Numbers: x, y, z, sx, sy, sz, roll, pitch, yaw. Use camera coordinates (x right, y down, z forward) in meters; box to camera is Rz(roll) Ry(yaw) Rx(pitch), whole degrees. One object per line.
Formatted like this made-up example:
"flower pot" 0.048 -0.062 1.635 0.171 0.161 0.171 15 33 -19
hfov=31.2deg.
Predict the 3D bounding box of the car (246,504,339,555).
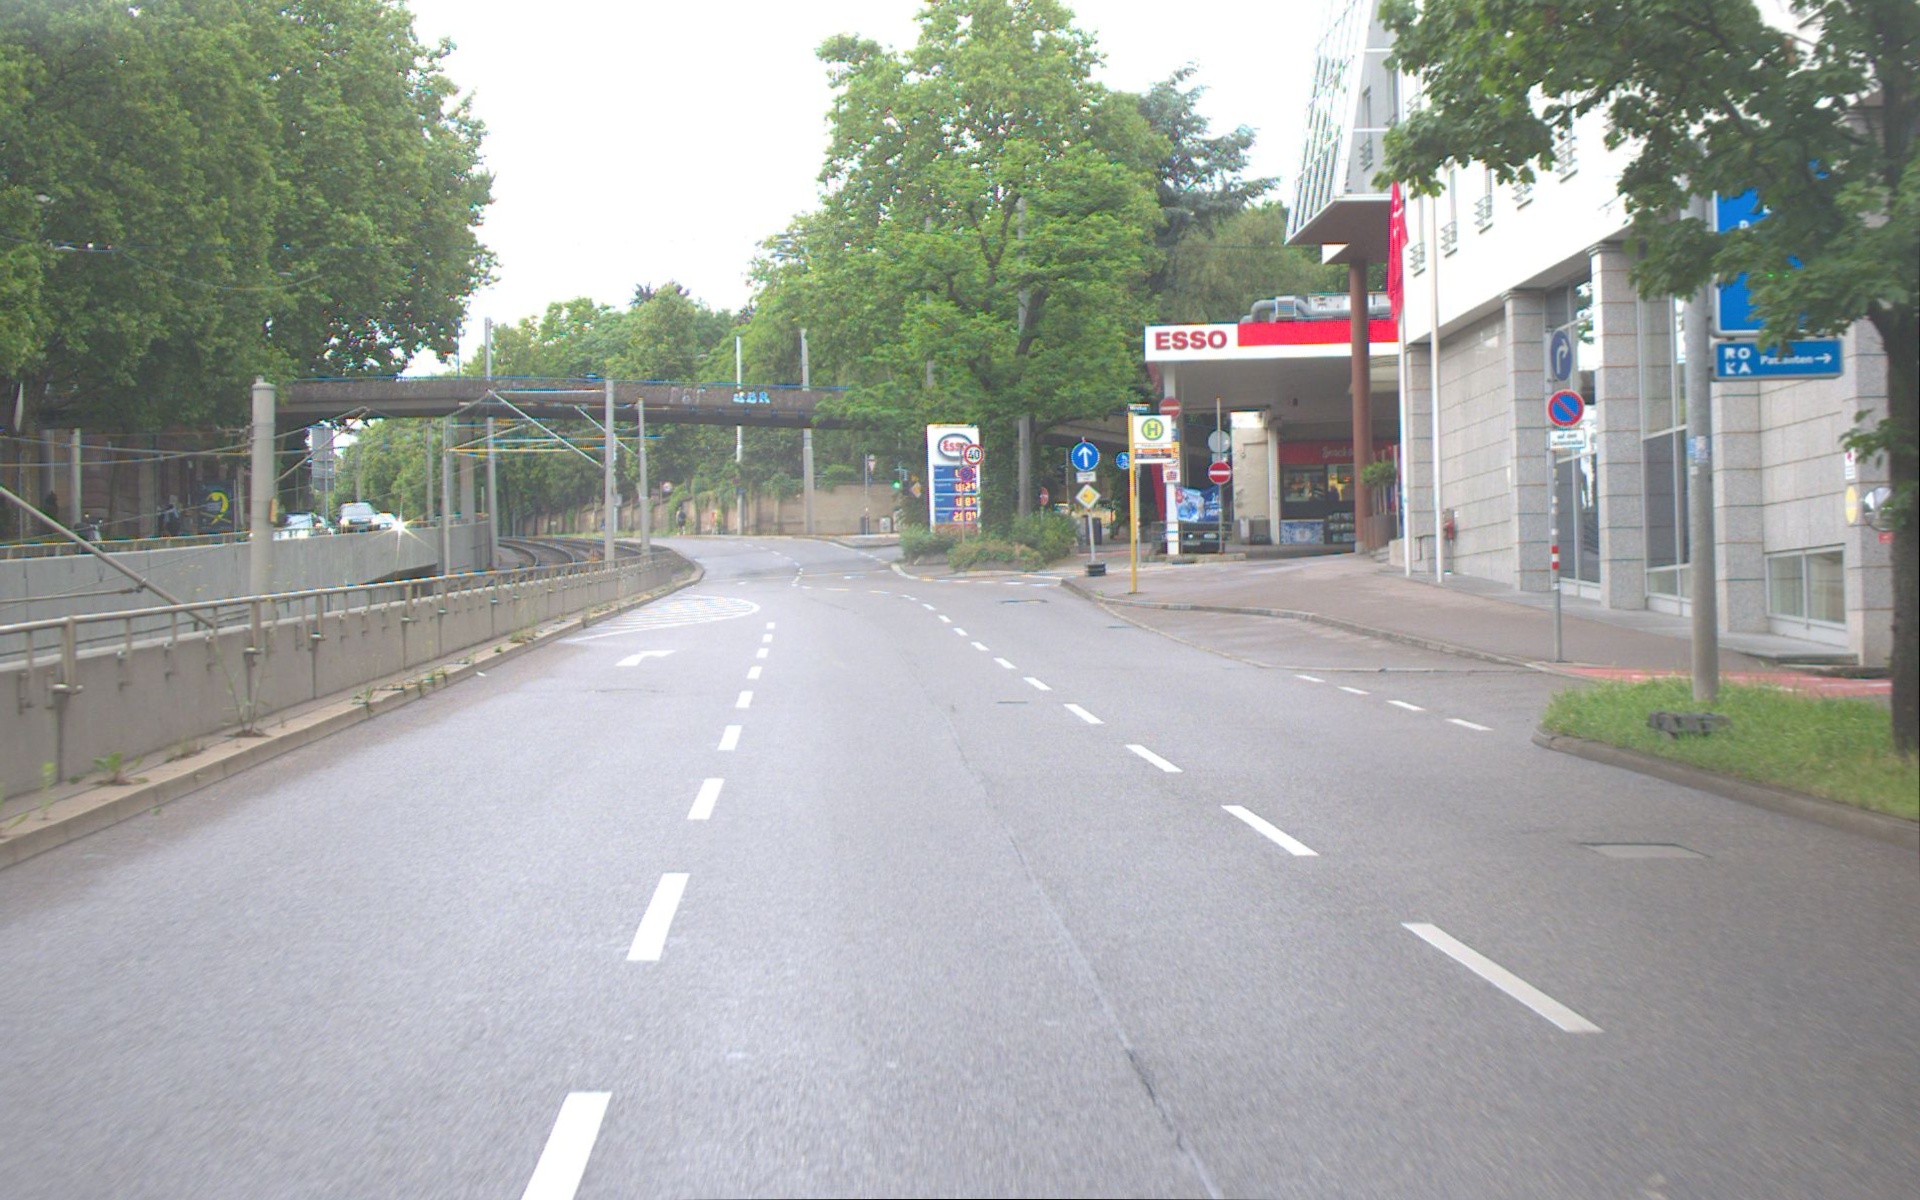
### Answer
"car" -20.248 -2.158 104.401 2.026 1.505 4.883 1 1 -2

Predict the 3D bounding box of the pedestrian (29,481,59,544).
"pedestrian" -29.739 -2.837 111.609 0.669 2.007 0.935 1 0 1

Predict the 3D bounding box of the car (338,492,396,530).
"car" -29.259 -4.386 169.699 1.956 1.846 4.968 1 1 0

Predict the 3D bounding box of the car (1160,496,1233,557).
"car" 6.694 -2.065 97.096 1.773 1.618 3.865 -3 1 7
